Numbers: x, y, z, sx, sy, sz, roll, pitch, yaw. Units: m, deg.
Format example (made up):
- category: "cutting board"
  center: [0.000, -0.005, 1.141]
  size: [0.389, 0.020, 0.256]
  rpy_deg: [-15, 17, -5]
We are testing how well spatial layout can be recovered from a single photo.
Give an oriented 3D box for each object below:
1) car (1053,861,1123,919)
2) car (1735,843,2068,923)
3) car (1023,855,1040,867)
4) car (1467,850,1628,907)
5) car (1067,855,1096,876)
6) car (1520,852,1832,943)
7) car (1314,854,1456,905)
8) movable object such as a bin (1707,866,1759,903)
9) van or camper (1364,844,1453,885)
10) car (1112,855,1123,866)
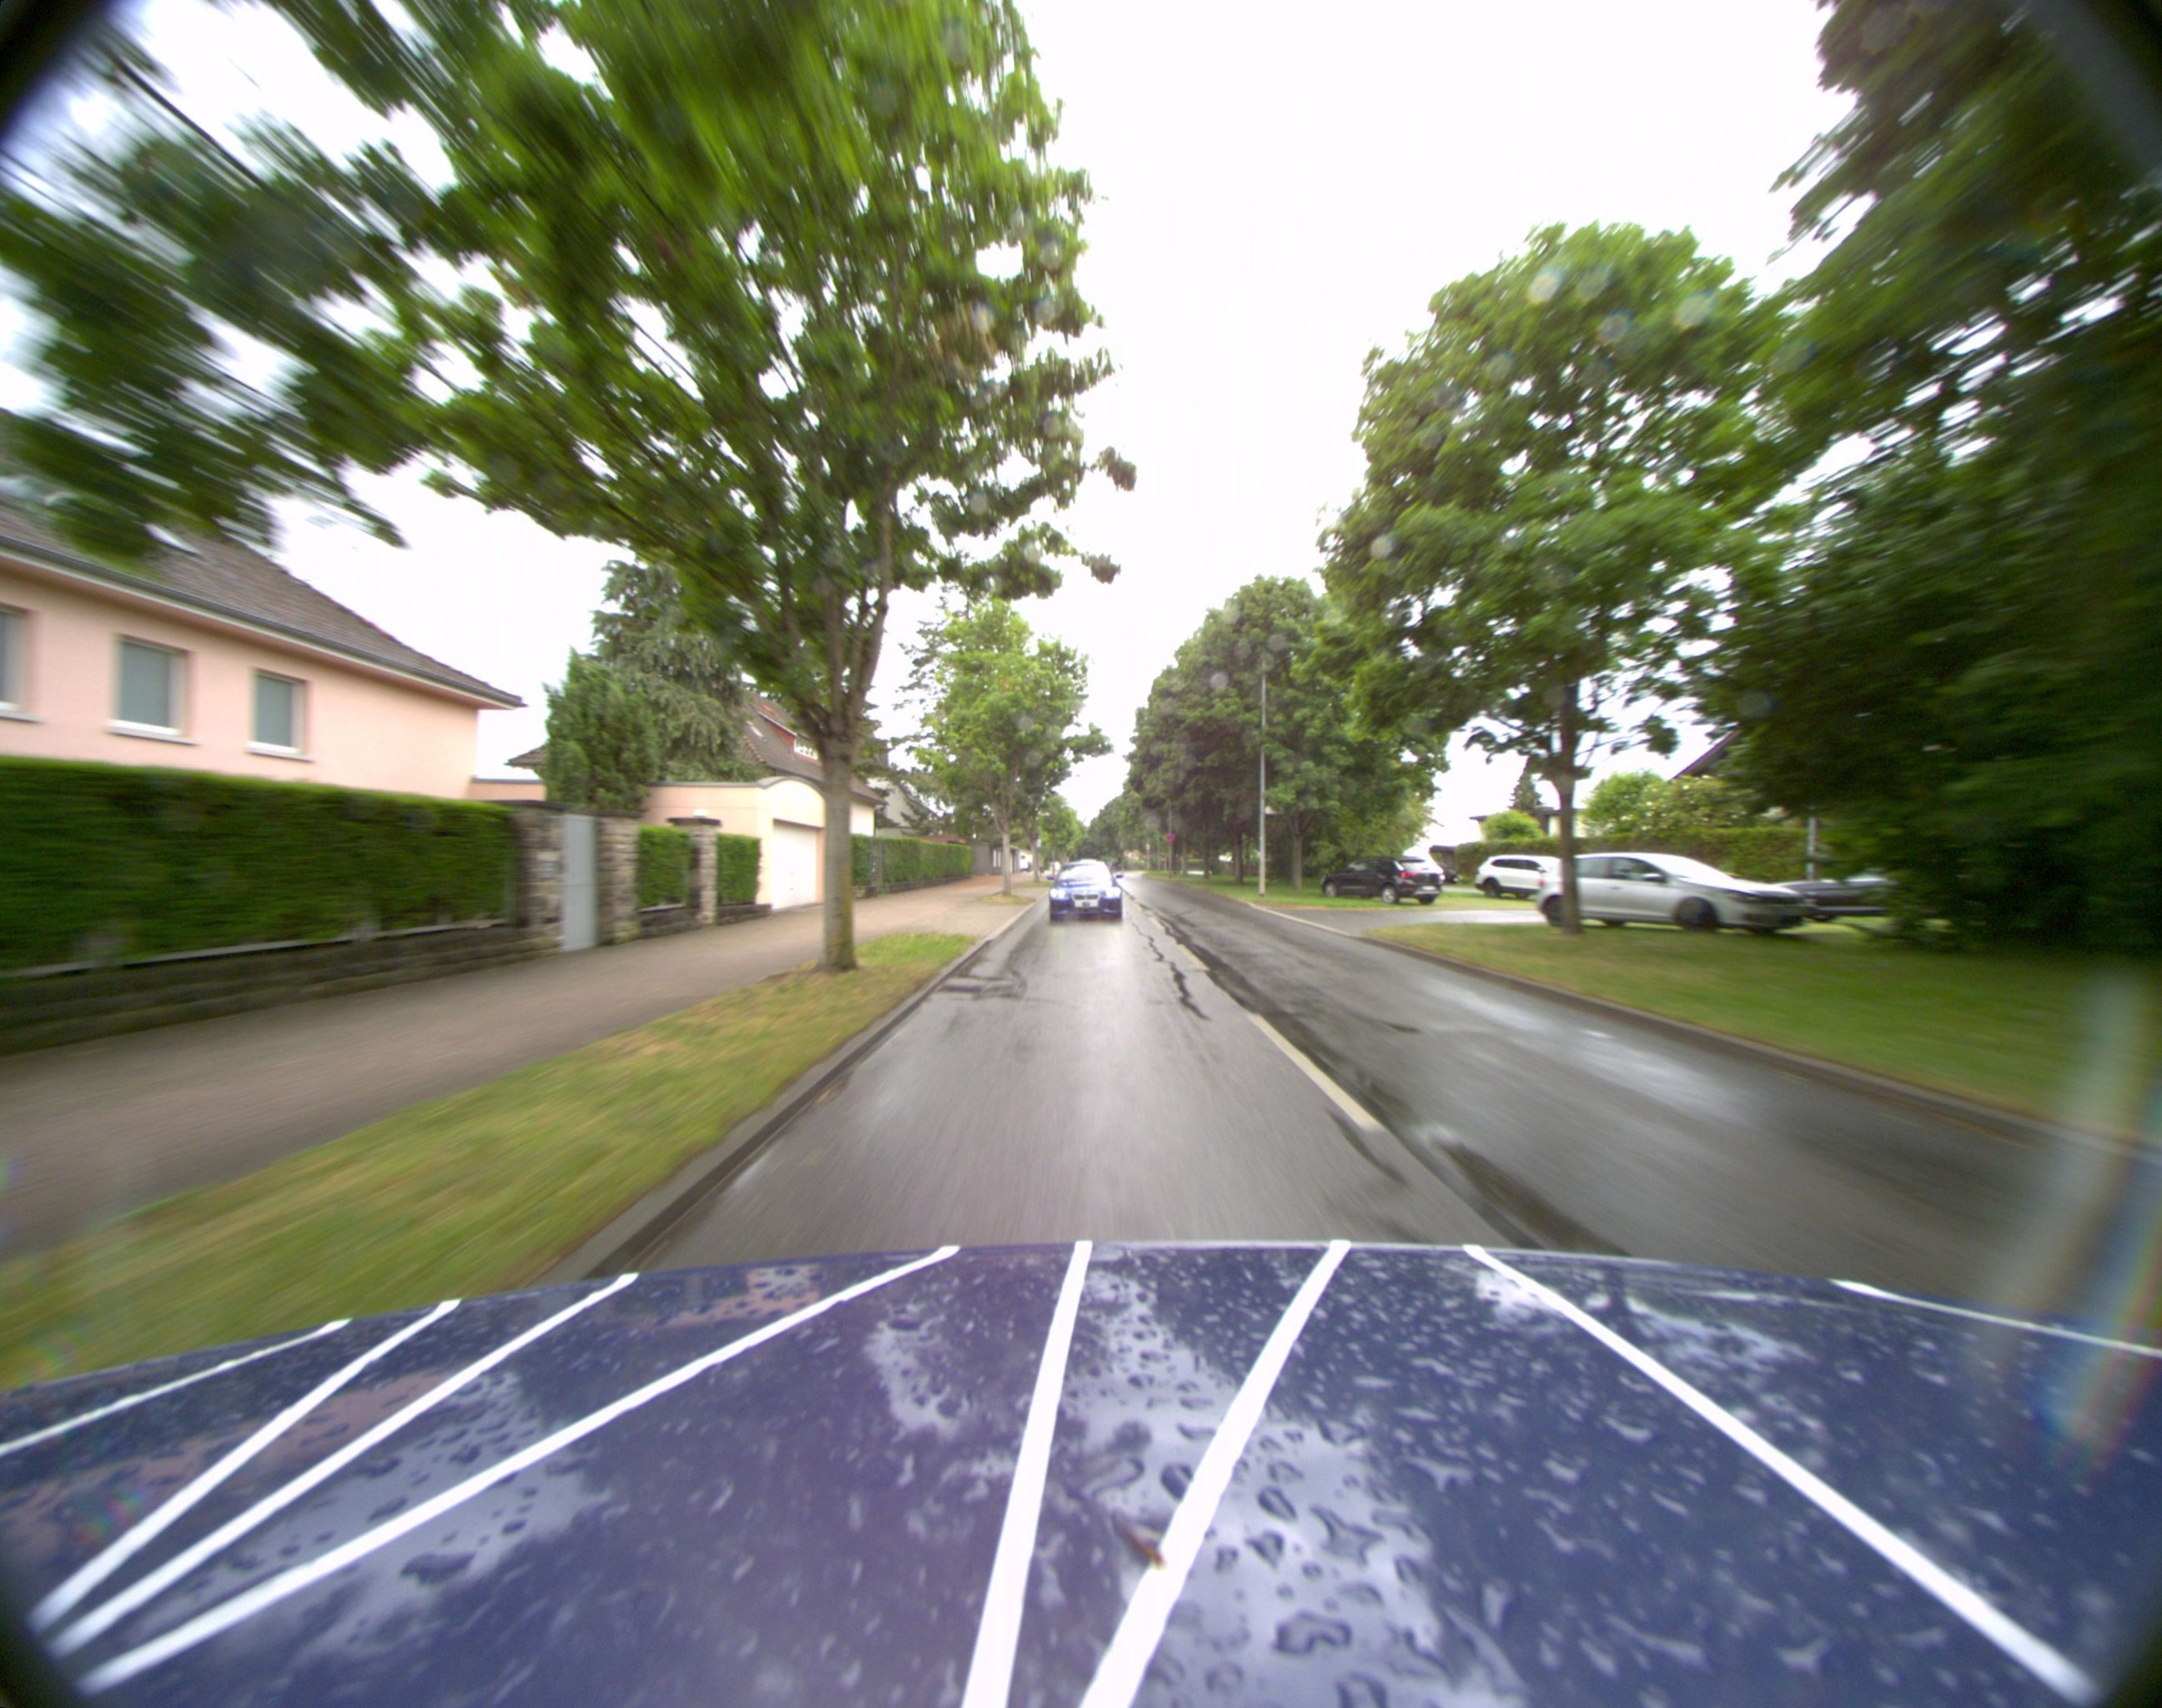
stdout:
- category: "car"
  center: [0.224, 0.955, 21.784]
  size: [1.815, 1.459, 3.975]
  rpy_deg: [0, 0, 1]
- category: "car"
  center: [17.674, 0.650, 16.731]
  size: [1.870, 1.499, 4.599]
  rpy_deg: [1, -2, -22]
- category: "car"
  center: [-6.016, 0.838, 92.956]
  size: [1.666, 1.413, 4.000]
  rpy_deg: [-2, 0, 1]
- category: "car"
  center: [16.990, 0.818, 28.018]
  size: [1.911, 1.760, 4.889]
  rpy_deg: [1, 2, -19]
- category: "car"
  center: [0.002, 0.777, 53.440]
  size: [1.929, 1.374, 4.307]
  rpy_deg: [-2, 0, -1]
- category: "car"
  center: [10.673, 0.774, 14.087]
  size: [1.889, 1.421, 4.212]
  rpy_deg: [1, -3, -17]
- category: "car"
  center: [9.964, 0.805, 25.267]
  size: [1.897, 1.505, 4.240]
  rpy_deg: [1, 0, -24]
- category: "movable object such as a bin"
  center: [26.891, 1.238, 31.362]
  size: [1.087, 1.458, 1.168]
  rpy_deg: [-2, 1, -8]
- category: "van or camper"
  center: [19.971, 0.623, 46.702]
  size: [2.096, 2.322, 6.150]
  rpy_deg: [1, 0, -8]
- category: "car"
  center: [6.056, 1.055, 125.582]
  size: [1.780, 1.763, 4.287]
  rpy_deg: [0, 0, 4]
